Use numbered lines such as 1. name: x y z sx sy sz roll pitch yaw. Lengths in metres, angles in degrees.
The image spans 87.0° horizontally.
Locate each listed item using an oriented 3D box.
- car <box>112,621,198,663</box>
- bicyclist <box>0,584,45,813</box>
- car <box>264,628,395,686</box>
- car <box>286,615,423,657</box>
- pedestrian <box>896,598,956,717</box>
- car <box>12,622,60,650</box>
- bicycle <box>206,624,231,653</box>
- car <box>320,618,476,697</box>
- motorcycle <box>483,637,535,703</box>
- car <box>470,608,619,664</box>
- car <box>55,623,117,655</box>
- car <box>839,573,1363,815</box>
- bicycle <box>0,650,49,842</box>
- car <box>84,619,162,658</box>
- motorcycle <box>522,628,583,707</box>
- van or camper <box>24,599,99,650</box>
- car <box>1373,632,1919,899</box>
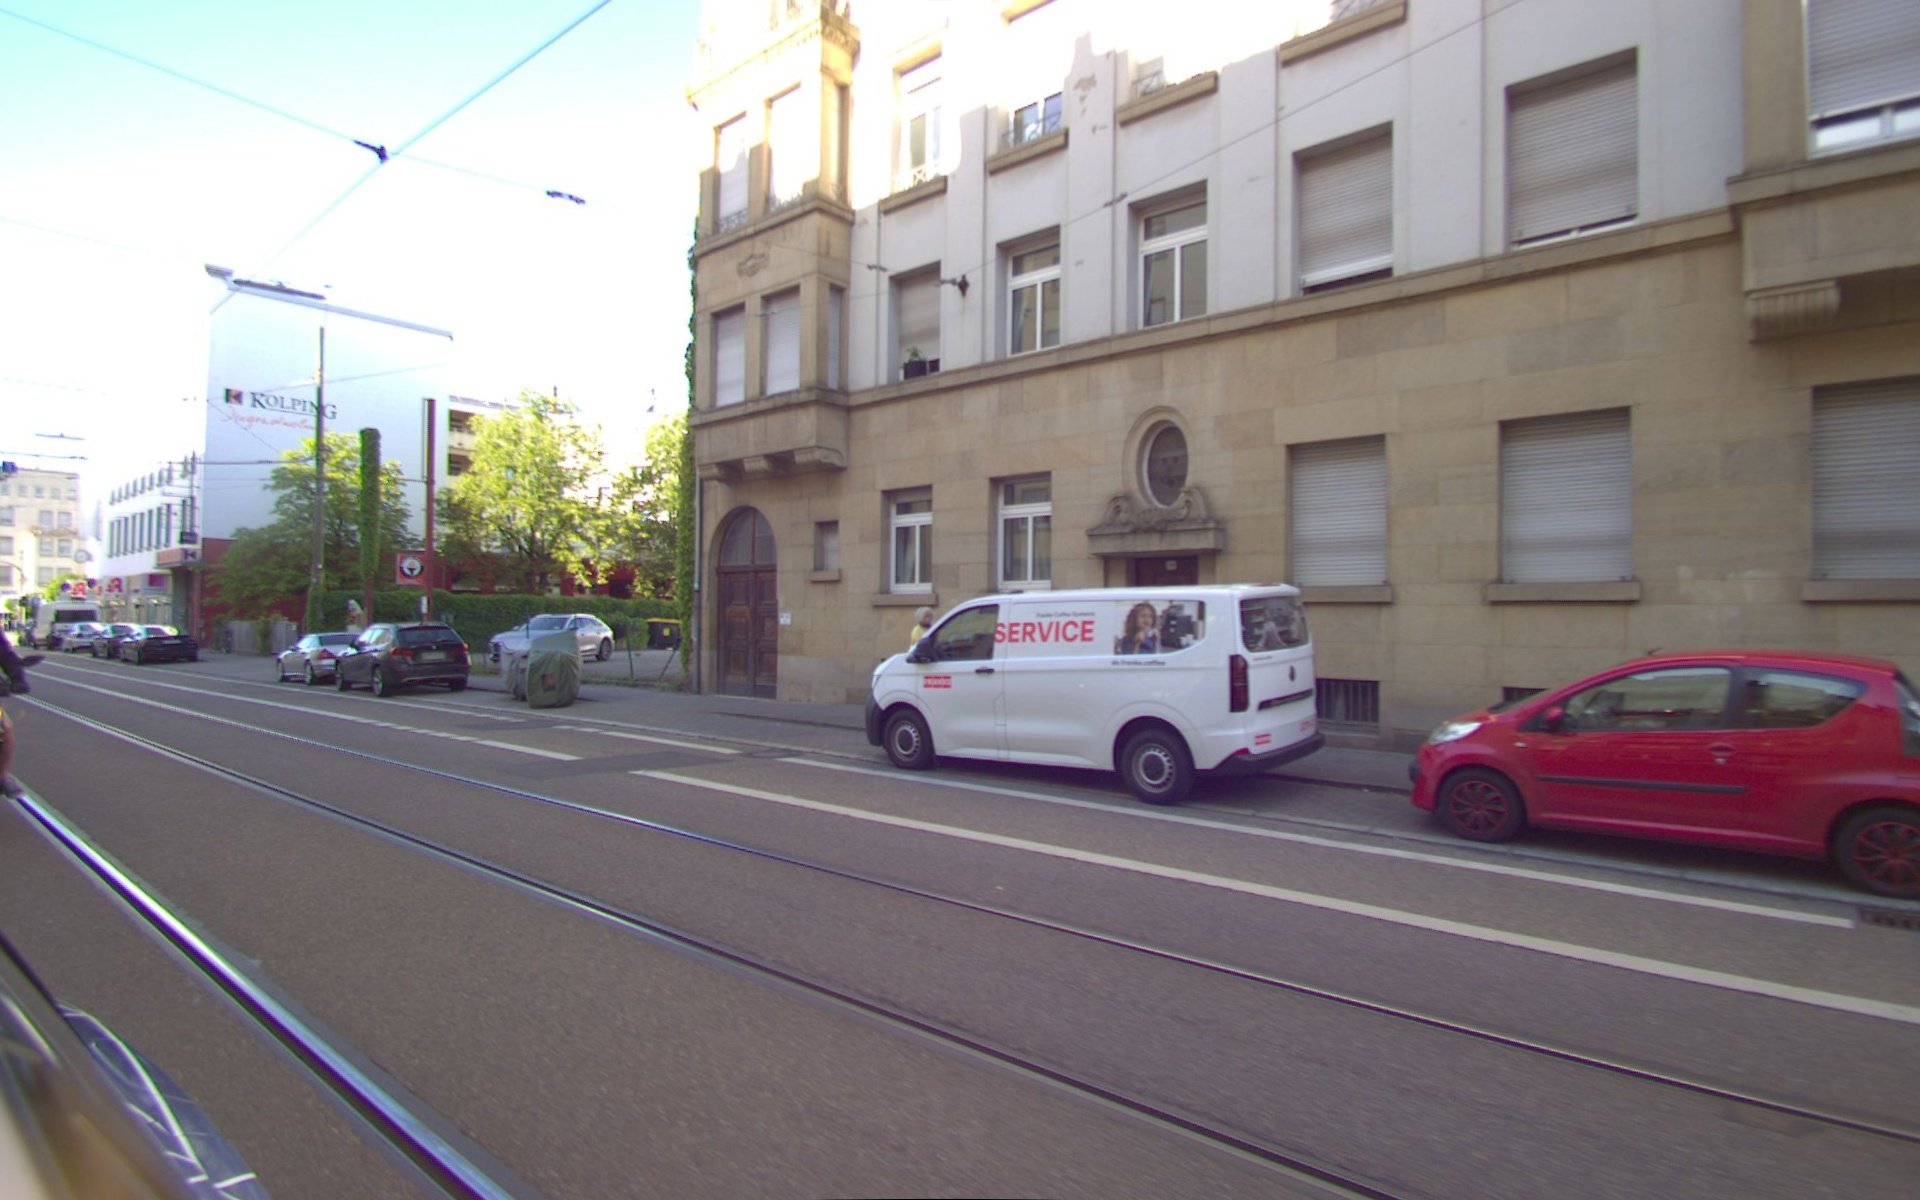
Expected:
1. car: -30.771 1.568 38.641 4.839 1.457 1.764 -1 0 42
2. bicyclist: -6.962 0.665 7.054 0.939 1.552 0.764 -1 -2 43
3. car: -16.547 1.429 26.471 4.219 1.324 1.764 -1 0 41
4. car: -24.194 1.412 40.520 2.000 1.610 4.314 -1 -2 42
5. pedestrian: -0.514 0.855 15.323 0.616 1.737 0.672 -1 -2 41
6. car: -54.531 2.089 59.708 3.992 1.564 1.764 -1 0 42
7. bicycle: -31.752 1.646 43.329 2.050 1.183 0.435 -1 -2 42
8. car: -12.754 1.203 22.835 4.610 1.577 1.764 -1 0 43
9. motorcycle: -8.875 1.344 19.986 0.729 1.180 2.187 0 -1 -19
10. car: -12.206 1.048 30.124 1.976 1.529 4.785 0 -1 8
11. car: -41.948 1.855 48.546 4.444 1.409 1.764 -1 0 42
12. car: 1.241 0.787 10.668 5.248 1.963 1.953 -1 0 40
13. bicycle: -7.003 0.981 7.094 1.752 1.208 0.757 -1 -2 43
14. car: -35.217 1.570 42.524 4.697 1.492 1.765 -1 0 41
15. motorcycle: -7.488 1.202 18.674 0.871 1.361 1.963 0 -1 -17
16. van or camper: -47.277 1.259 53.201 6.228 2.486 2.149 -1 0 41
17. car: 5.138 1.012 7.358 3.644 1.484 1.586 -1 0 41
